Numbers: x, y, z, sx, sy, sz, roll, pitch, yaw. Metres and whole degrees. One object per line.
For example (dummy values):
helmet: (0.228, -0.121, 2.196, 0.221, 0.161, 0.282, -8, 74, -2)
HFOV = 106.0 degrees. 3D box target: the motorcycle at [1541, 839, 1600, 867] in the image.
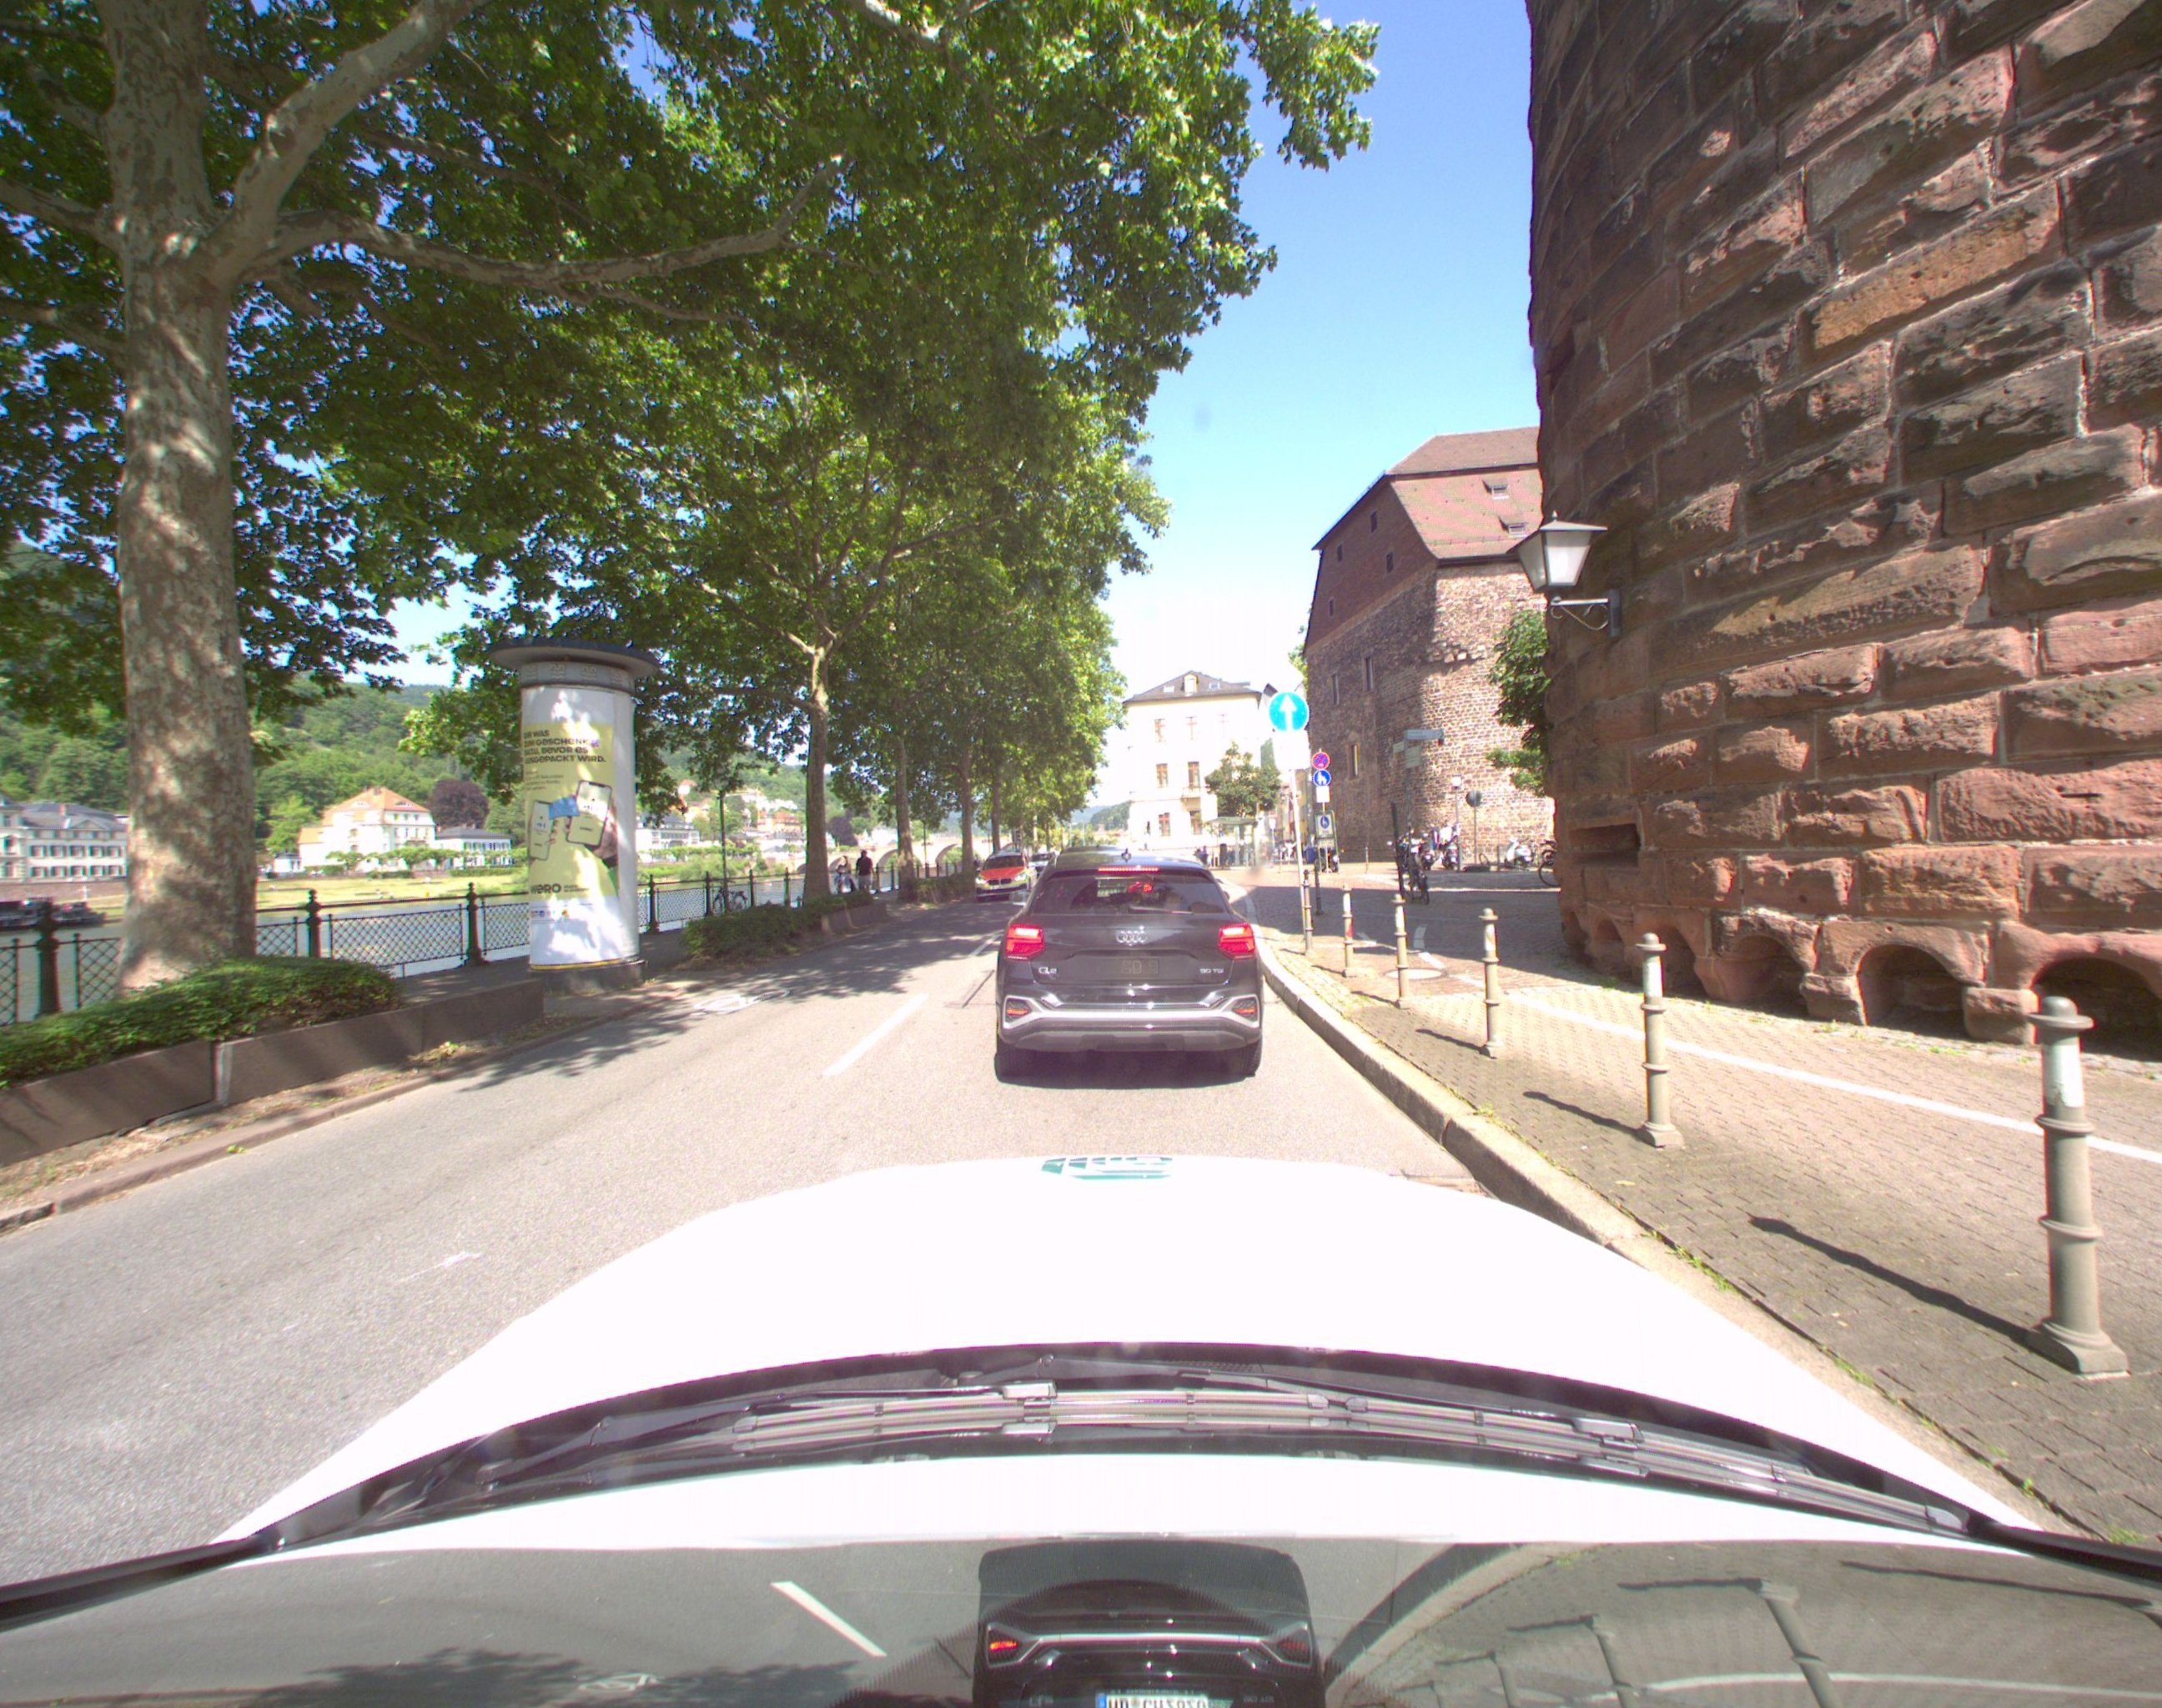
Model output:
motorcycle: (18.471, -0.040, 30.742, 1.854, 1.054, 0.481, -1, -1, 9)

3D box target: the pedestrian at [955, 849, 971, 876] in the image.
pedestrian: (-8.015, 0.554, 55.276, 0.906, 1.811, 0.586, -1, -1, 6)

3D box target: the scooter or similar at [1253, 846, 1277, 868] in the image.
scooter or similar: (8.903, 0.149, 39.328, 1.085, 1.066, 0.323, 0, -1, -1)

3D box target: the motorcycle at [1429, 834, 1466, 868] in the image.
motorcycle: (13.689, -0.110, 30.472, 0.544, 1.235, 2.031, 0, -1, 2)

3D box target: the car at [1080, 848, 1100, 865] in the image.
car: (1.040, 0.305, 90.643, 1.985, 1.806, 4.003, -1, -1, 3)

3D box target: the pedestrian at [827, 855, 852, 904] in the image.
pedestrian: (-8.420, 0.876, 28.406, 0.599, 1.685, 0.583, -3, 0, 0)

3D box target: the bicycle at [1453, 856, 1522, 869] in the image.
bicycle: (13.623, 0.282, 27.360, 1.914, 0.381, 0.921, -2, -1, 16)

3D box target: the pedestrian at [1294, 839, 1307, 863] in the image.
pedestrian: (18.968, -0.244, 70.406, 0.936, 2.014, 0.808, -1, -1, 3)

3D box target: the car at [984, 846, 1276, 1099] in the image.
car: (0.351, 0.700, 6.706, 1.736, 1.509, 3.649, 0, 0, 2)

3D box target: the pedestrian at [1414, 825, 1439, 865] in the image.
pedestrian: (16.156, -0.421, 38.109, 0.836, 1.802, 0.658, -1, 0, 45)

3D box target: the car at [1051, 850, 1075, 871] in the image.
car: (-1.576, 0.535, 71.255, 1.732, 1.572, 4.093, -6, 0, 2)

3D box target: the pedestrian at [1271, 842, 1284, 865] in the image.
pedestrian: (17.808, -0.052, 73.763, 0.941, 2.014, 0.808, 0, -1, 2)

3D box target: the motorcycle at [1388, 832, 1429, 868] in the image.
motorcycle: (11.985, -0.135, 29.843, 0.653, 1.266, 2.201, -2, -1, 2)

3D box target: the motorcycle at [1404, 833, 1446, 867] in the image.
motorcycle: (12.875, -0.123, 30.566, 0.672, 1.235, 2.313, 0, -1, 2)

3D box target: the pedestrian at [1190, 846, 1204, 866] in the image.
pedestrian: (6.842, 0.118, 48.097, 0.662, 1.211, 0.640, 0, -1, -5)

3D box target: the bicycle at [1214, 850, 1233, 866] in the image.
bicycle: (8.691, 0.242, 49.515, 1.187, 1.016, 0.178, 0, -1, -17)

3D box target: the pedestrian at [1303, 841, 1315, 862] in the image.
pedestrian: (17.950, -0.187, 64.180, 0.684, 1.612, 0.897, -4, 0, 27)

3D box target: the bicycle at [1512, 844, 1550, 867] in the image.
bicycle: (16.629, 0.053, 30.141, 0.352, 0.820, 1.926, 0, 1, 1)

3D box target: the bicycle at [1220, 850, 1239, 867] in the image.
bicycle: (8.920, 0.254, 48.881, 1.205, 1.035, 0.178, 0, -1, -17)

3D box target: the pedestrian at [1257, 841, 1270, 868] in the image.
pedestrian: (9.515, 0.010, 42.429, 0.555, 1.385, 0.588, -1, -1, 4)

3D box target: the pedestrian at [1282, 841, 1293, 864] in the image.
pedestrian: (17.897, -0.108, 70.578, 0.836, 2.014, 0.738, 0, -1, 2)

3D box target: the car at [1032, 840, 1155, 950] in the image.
car: (0.240, 0.590, 13.617, 1.786, 1.595, 3.400, 0, 0, 2)

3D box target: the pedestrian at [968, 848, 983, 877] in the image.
pedestrian: (-7.506, 0.586, 57.799, 0.906, 2.014, 0.587, -1, -1, 6)

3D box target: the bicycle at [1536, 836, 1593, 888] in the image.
bicycle: (11.537, 0.177, 19.476, 0.444, 1.162, 1.733, -2, 0, 5)

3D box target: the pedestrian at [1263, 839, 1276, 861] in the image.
pedestrian: (14.436, -0.298, 62.372, 0.773, 1.621, 0.646, -3, 0, 4)

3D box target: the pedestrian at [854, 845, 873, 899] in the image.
pedestrian: (-7.731, 0.627, 28.951, 0.532, 1.887, 0.437, 0, 0, 1)

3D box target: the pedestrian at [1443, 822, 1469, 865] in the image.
pedestrian: (17.167, -0.480, 37.288, 0.674, 1.920, 0.811, 0, -1, -39)

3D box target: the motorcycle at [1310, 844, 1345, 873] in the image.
motorcycle: (9.057, 0.160, 30.019, 0.564, 1.012, 2.490, -2, 0, 1)

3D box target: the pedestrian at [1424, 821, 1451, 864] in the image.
pedestrian: (16.916, -0.540, 38.670, 0.733, 2.014, 0.871, 0, -1, -21)

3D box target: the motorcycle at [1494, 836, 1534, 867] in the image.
motorcycle: (15.488, -0.073, 29.169, 0.505, 1.073, 1.841, 0, -1, 2)

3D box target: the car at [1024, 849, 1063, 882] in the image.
car: (-2.077, 0.607, 46.187, 1.762, 1.660, 4.001, -4, 0, 1)

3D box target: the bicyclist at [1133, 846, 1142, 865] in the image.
bicyclist: (4.358, 0.081, 62.556, 0.604, 1.450, 0.590, 0, -1, -3)

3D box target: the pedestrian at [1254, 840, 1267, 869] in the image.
pedestrian: (11.731, 0.038, 53.296, 0.744, 1.890, 0.753, -1, -1, 4)

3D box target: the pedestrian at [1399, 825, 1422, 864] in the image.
pedestrian: (14.252, -0.411, 35.223, 0.799, 1.662, 0.660, -3, 0, 26)

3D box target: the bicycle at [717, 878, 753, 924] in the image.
bicycle: (-8.888, 1.198, 20.959, 0.358, 1.091, 1.296, 1, 0, 1)

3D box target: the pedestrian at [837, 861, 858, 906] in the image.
pedestrian: (-7.193, 0.906, 25.088, 0.476, 1.362, 0.418, -1, 0, 5)

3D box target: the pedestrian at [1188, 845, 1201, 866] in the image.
pedestrian: (6.800, 0.100, 48.822, 0.662, 1.231, 0.640, 0, -1, -5)

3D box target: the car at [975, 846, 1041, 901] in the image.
car: (-2.468, 0.624, 28.419, 1.667, 1.660, 4.224, -5, 0, 1)

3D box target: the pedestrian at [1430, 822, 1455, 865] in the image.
pedestrian: (16.385, -0.465, 36.931, 0.674, 1.884, 0.811, 0, -1, -41)

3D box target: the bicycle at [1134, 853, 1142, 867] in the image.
bicycle: (4.346, 0.462, 62.559, 0.436, 1.086, 1.675, 0, -1, -2)

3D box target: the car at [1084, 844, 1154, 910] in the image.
car: (1.005, 0.557, 22.178, 1.704, 1.609, 3.656, -1, 0, 2)

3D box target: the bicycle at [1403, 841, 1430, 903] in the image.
bicycle: (6.862, 0.332, 16.703, 0.192, 1.203, 1.775, -2, 1, 13)

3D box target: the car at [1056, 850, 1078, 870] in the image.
car: (-1.399, 0.604, 83.157, 1.806, 1.725, 4.423, -8, 0, 2)
